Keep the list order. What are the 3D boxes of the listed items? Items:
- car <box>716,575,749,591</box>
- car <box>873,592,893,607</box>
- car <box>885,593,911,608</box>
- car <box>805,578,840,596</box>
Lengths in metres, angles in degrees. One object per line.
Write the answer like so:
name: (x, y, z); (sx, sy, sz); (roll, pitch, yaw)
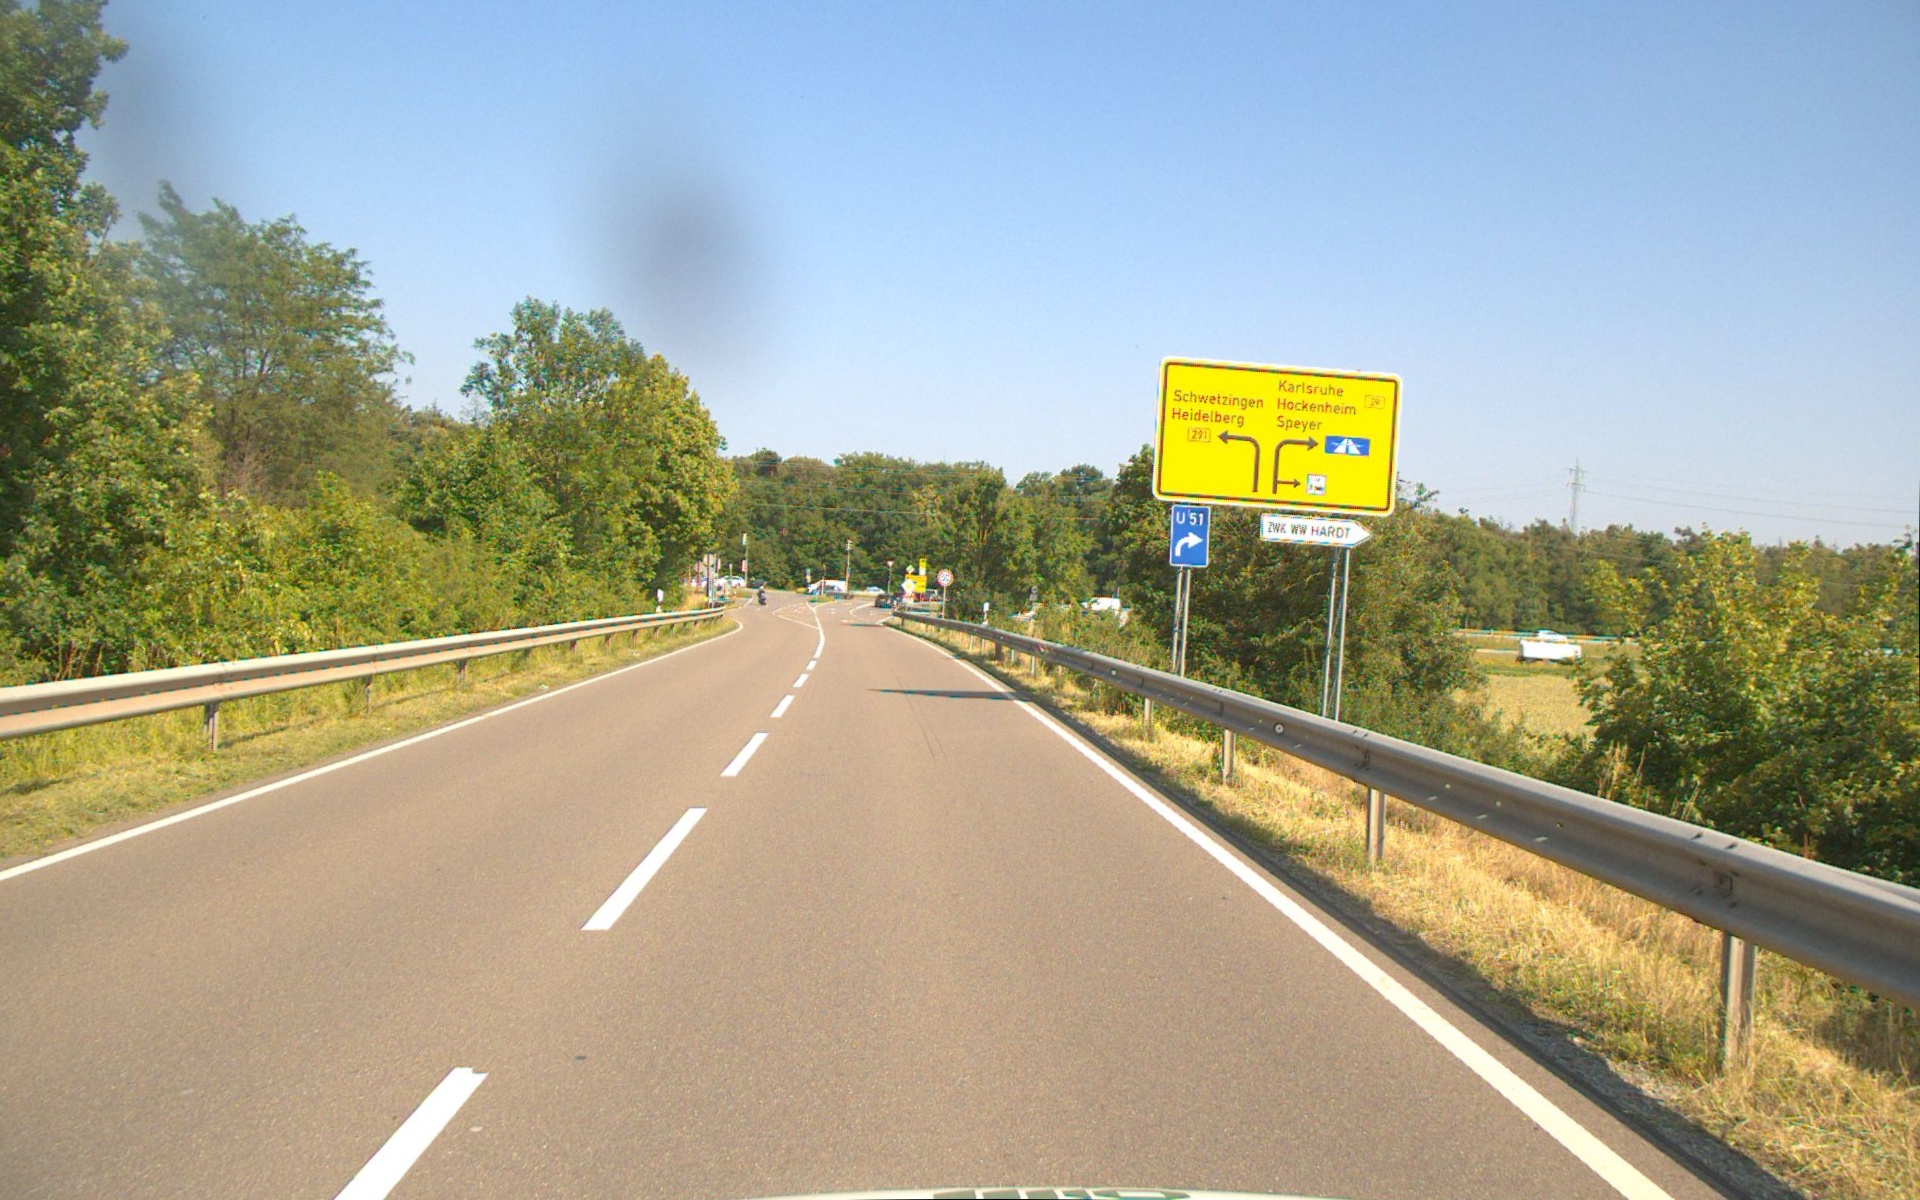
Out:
car: (-29.383, -2.201, 213.465); (3.938, 2.049, 1.781); (1, 0, -26)
car: (-7.909, -0.070, 170.939); (1.762, 1.422, 4.000); (-3, 0, 1)
car: (-6.662, 0.071, 178.231); (1.761, 1.527, 4.003); (3, 0, 12)
car: (-16.851, -1.564, 202.305); (3.920, 2.049, 1.992); (1, 0, -15)
